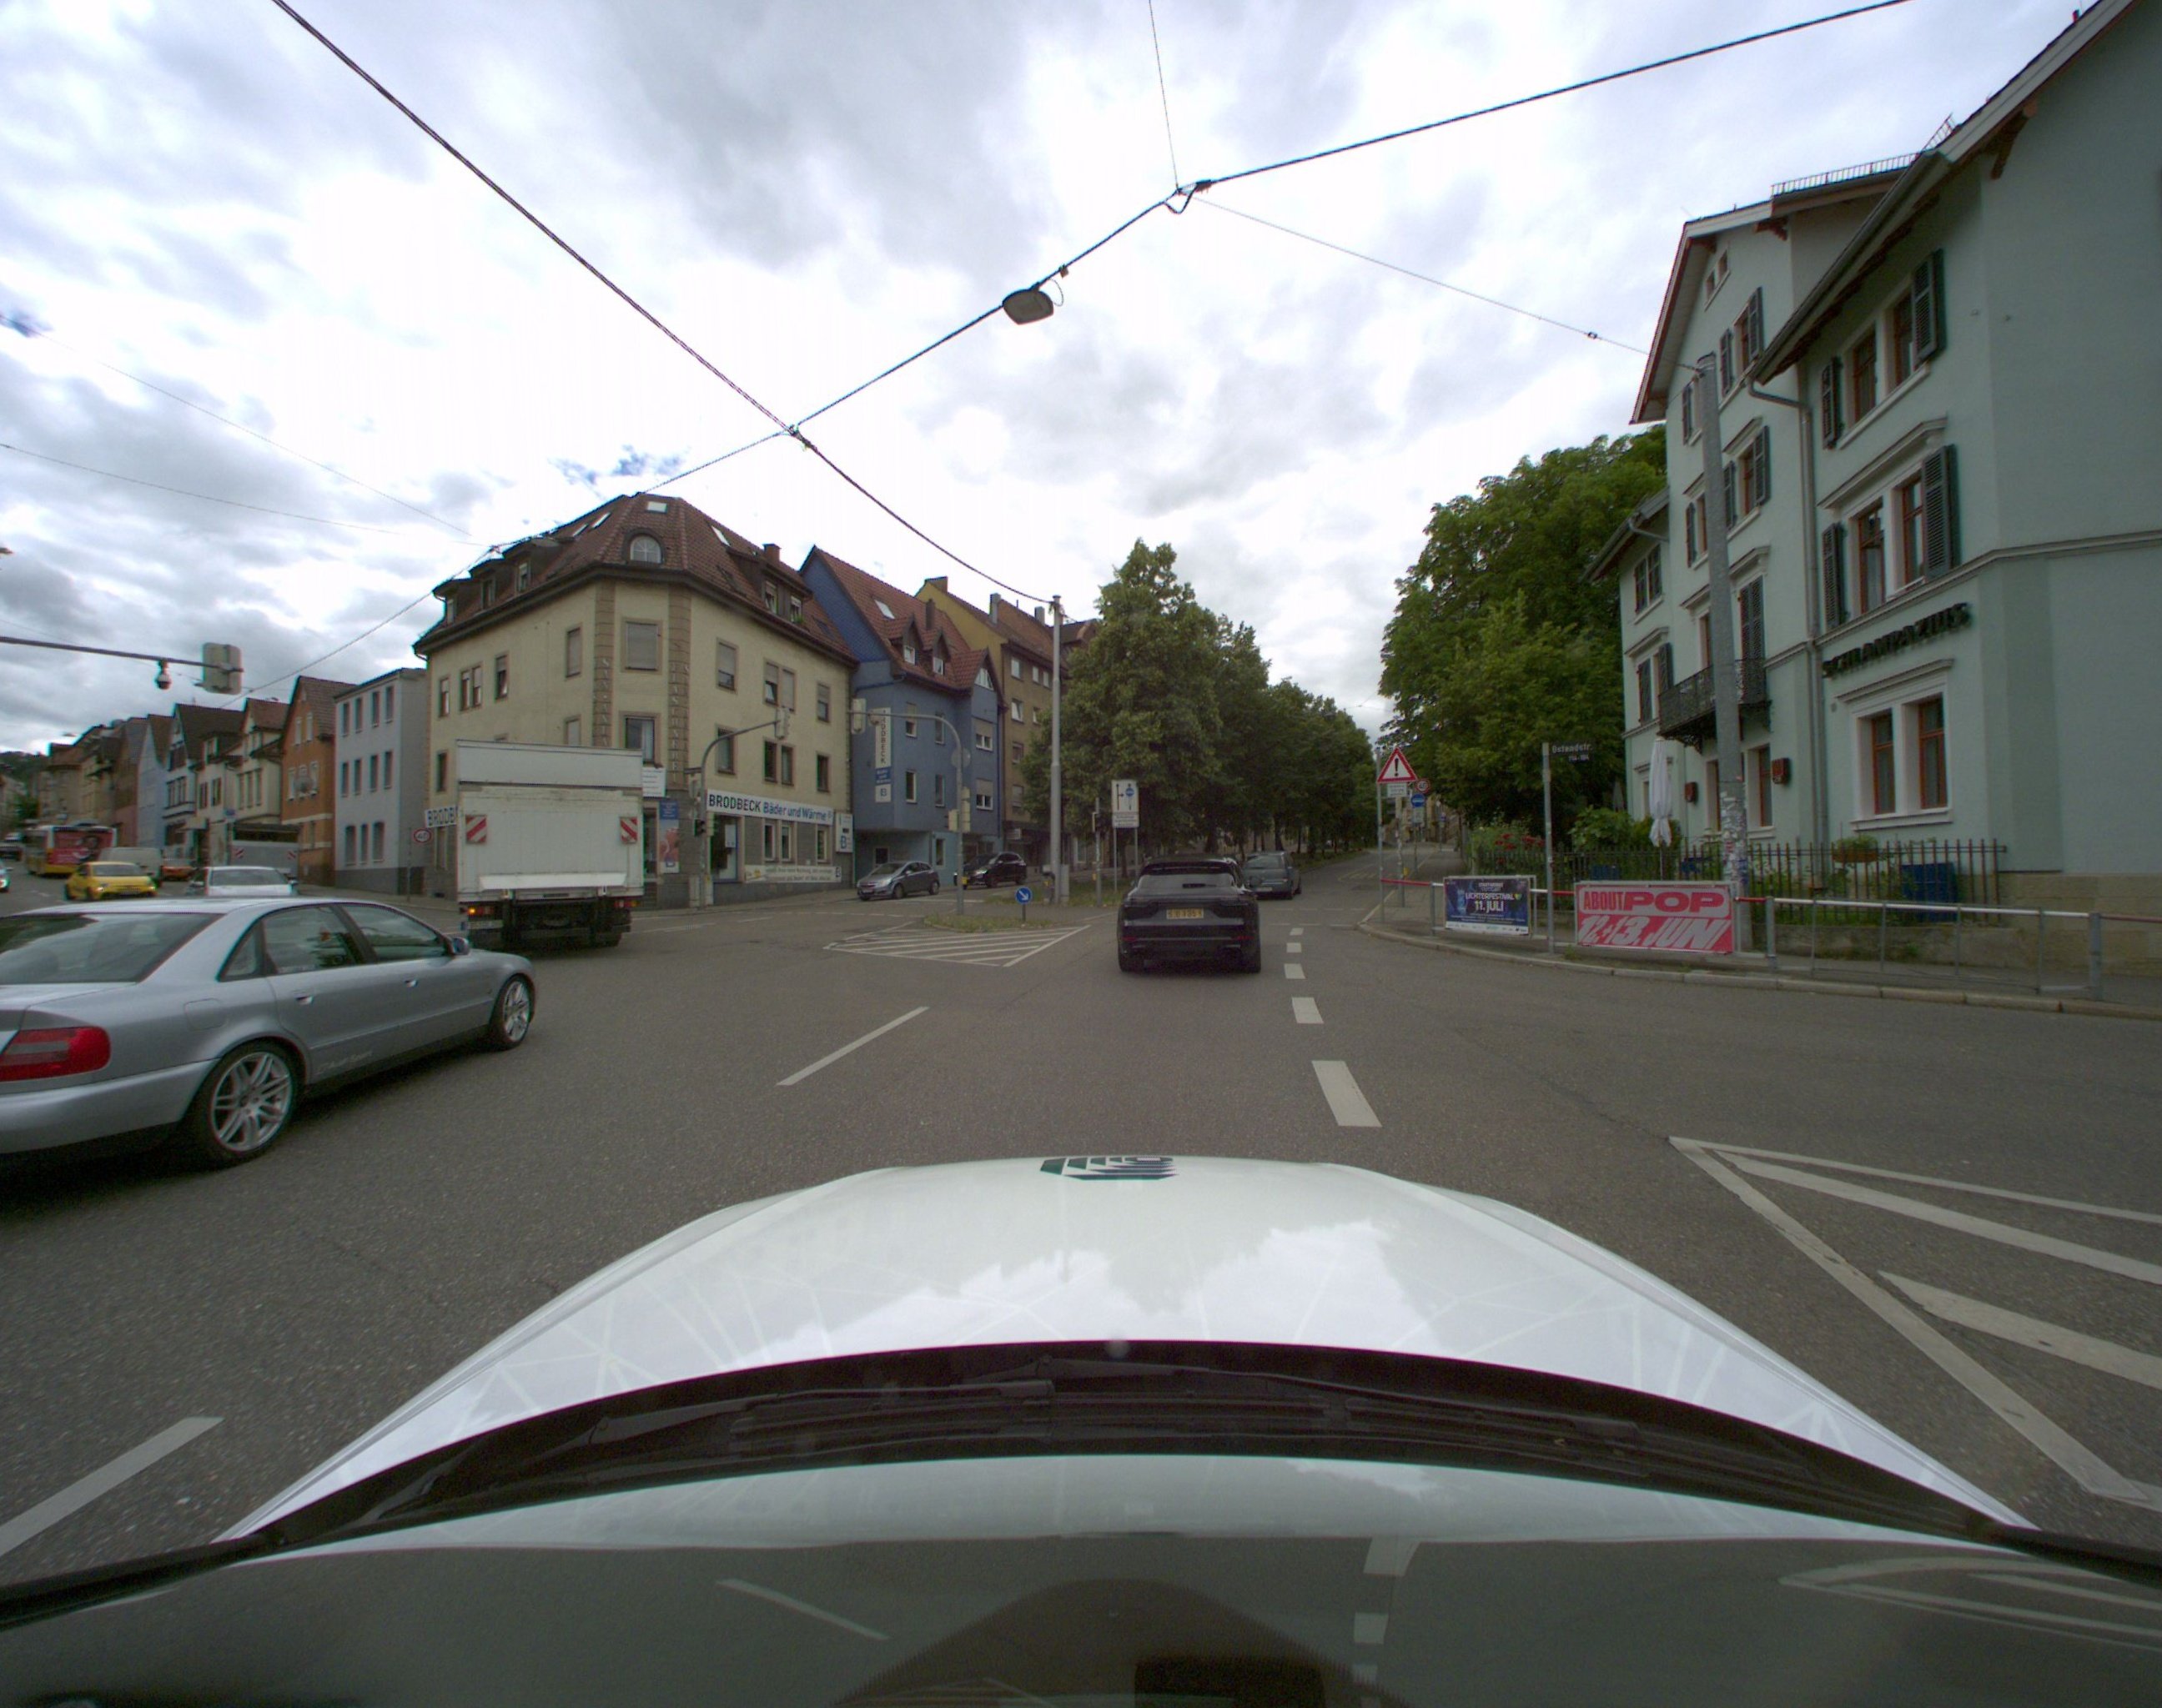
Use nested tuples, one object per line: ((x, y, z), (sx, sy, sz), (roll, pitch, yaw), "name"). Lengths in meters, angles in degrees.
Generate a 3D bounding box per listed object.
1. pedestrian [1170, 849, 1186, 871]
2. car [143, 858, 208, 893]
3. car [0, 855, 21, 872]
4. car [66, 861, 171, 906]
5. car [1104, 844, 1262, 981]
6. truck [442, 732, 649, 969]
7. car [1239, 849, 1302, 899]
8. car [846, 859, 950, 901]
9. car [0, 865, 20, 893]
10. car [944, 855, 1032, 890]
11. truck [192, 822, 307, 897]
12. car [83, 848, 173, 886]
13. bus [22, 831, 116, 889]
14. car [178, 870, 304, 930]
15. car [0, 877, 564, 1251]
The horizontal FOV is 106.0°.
((8.883, 0.551, 74.705), (1.182, 2.014, 0.994), (0, 0, 22), "pedestrian")
((-54.053, 1.248, 48.588), (3.948, 2.013, 2.013), (0, 0, 33), "car")
((-102.908, 0.888, 77.694), (3.948, 1.535, 1.859), (0, 0, 33), "car")
((-37.265, 1.089, 31.509), (3.949, 1.601, 2.013), (0, 0, 31), "car")
((1.762, 0.751, 12.726), (2.018, 1.723, 4.514), (0, 0, 12), "car")
((-10.937, -0.058, 16.372), (2.746, 3.544, 8.328), (0, 0, -37), "truck")
((6.522, 0.656, 27.729), (1.635, 1.556, 3.600), (0, -1, 20), "car")
((-7.126, 0.982, 32.108), (1.701, 1.476, 4.243), (-3, -1, 25), "car")
((-46.824, 1.072, 34.631), (3.624, 1.127, 1.774), (0, 0, 32), "car")
((-4.320, 0.841, 38.713), (1.853, 1.416, 4.726), (-1, 1, 26), "car")
((-39.706, 0.251, 38.859), (5.369, 3.354, 2.716), (0, -1, 33), "truck")
((-47.478, 0.619, 40.557), (4.281, 1.799, 2.077), (0, 0, 29), "car")
((-60.903, 0.336, 48.956), (7.563, 3.243, 2.829), (0, 0, 34), "bus")
((-22.752, 1.179, 22.025), (3.924, 1.470, 1.892), (-1, -2, 37), "car")
((-5.249, 0.908, 5.250), (1.627, 1.365, 4.117), (1, 0, -8), "car")
